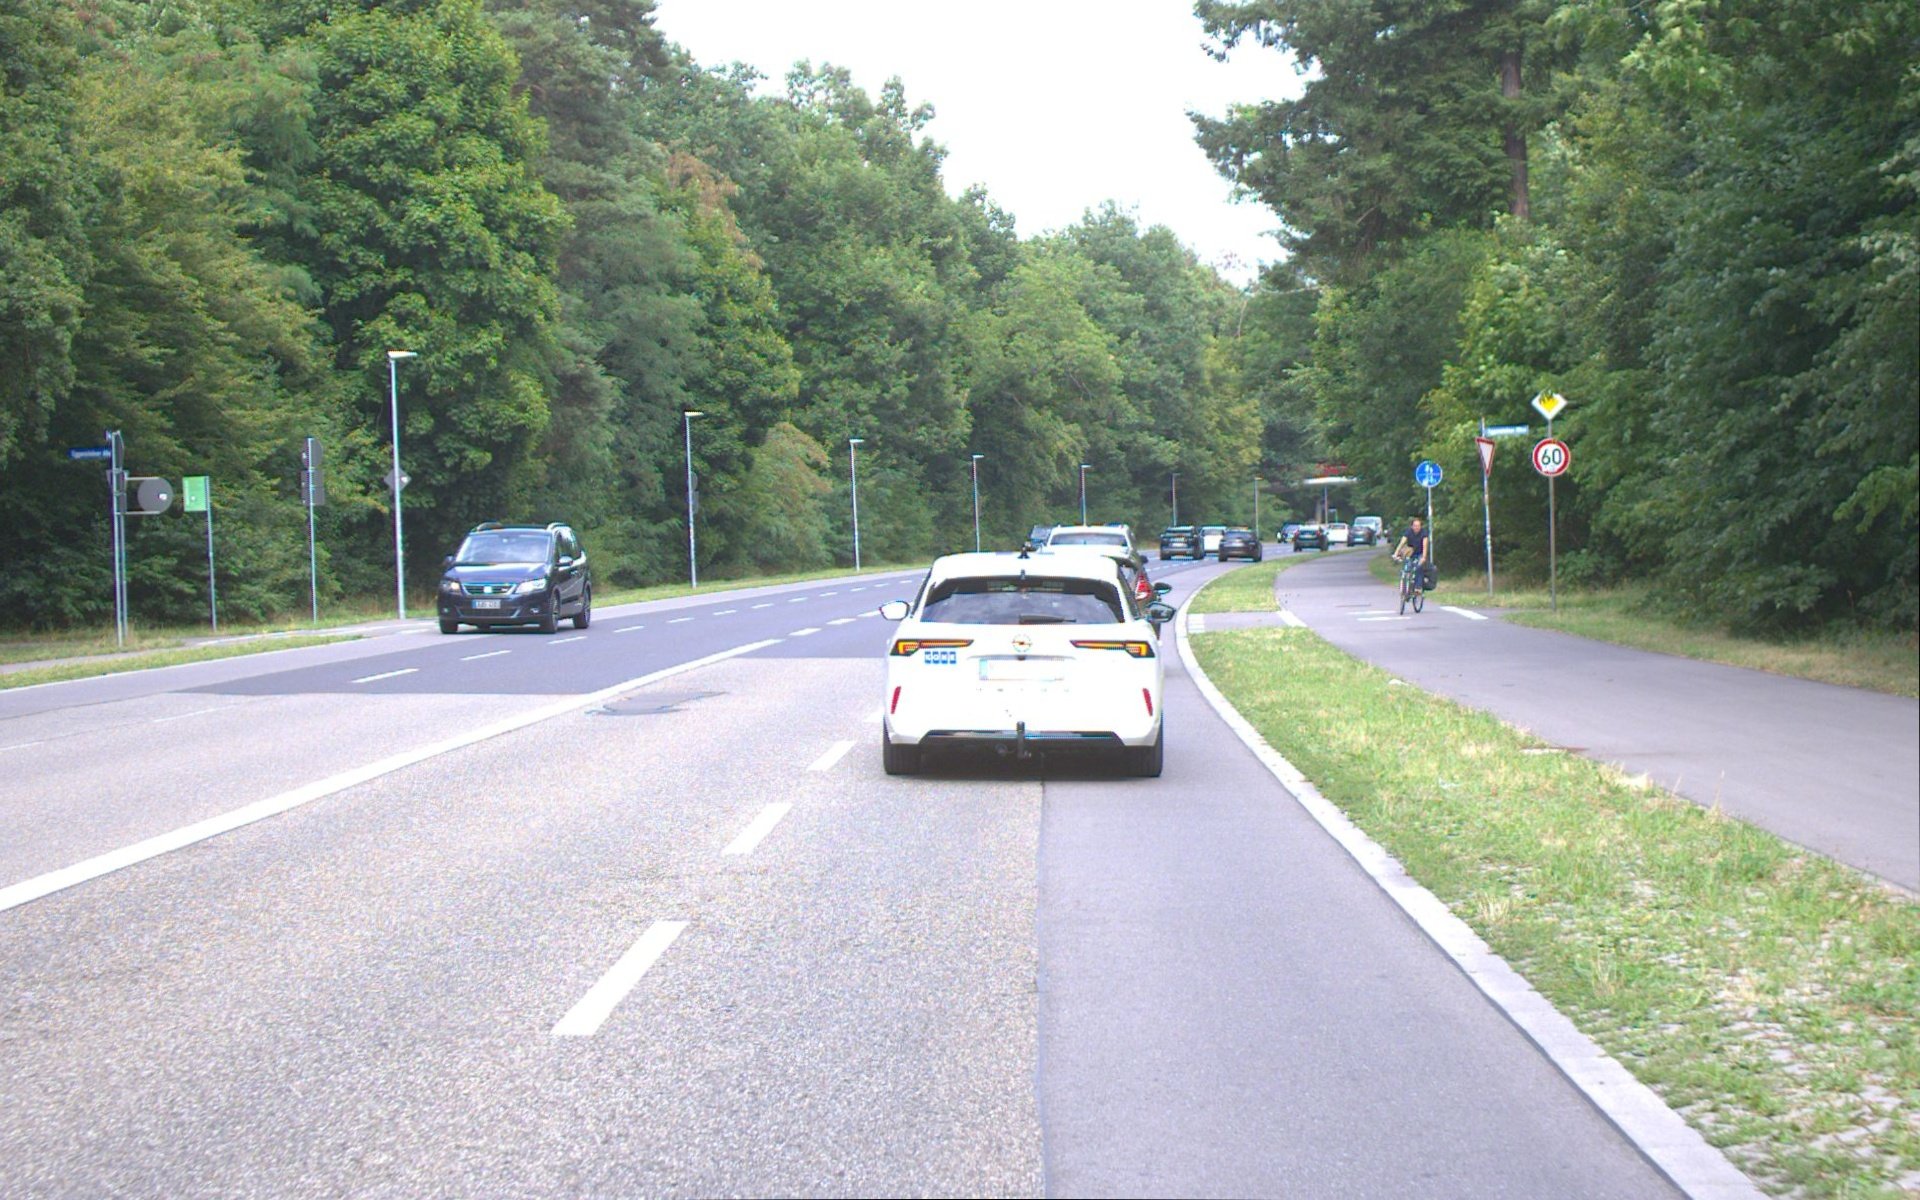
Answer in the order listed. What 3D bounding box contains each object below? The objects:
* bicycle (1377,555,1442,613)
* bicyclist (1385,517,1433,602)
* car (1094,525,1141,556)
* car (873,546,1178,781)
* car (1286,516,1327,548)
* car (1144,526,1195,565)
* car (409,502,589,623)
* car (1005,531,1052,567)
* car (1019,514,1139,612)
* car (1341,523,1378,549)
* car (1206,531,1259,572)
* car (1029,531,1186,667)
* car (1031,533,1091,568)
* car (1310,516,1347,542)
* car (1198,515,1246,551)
[{"bbox_3d":[7.844,-0.291,59.960,0.709,0.990,2.179,0,1,19],"label":"bicycle"},{"bbox_3d":[7.835,-0.710,59.944,0.709,1.465,0.901,0,1,15],"label":"bicyclist"},{"bbox_3d":[8.824,-3.306,192.040,1.994,1.611,4.662,2,0,10],"label":"car"},{"bbox_3d":[0.426,0.360,23.041,1.836,1.405,4.491,0,1,1],"label":"car"},{"bbox_3d":[20.550,-4.021,203.925,1.994,1.777,3.998,2,0,11],"label":"car"},{"bbox_3d":[10.015,-2.579,163.834,1.994,1.777,3.998,2,0,9],"label":"car"},{"bbox_3d":[-7.286,-0.583,54.837,1.994,1.785,4.747,2,0,3],"label":"car"},{"bbox_3d":[3.278,-2.408,163.764,1.923,1.649,4.468,0,0,5],"label":"car"},{"bbox_3d":[2.057,-0.643,60.244,1.993,1.601,4.000,2,0,1],"label":"car"},{"bbox_3d":[27.176,-4.364,233.691,1.995,1.700,3.998,0,1,14],"label":"car"},{"bbox_3d":[12.438,-2.189,156.858,1.994,1.777,3.998,2,0,10],"label":"car"},{"bbox_3d":[1.708,-0.018,38.806,1.635,1.415,3.999,2,0,4],"label":"car"},{"bbox_3d":[4.282,-2.074,144.768,1.994,1.430,4.719,0,0,8],"label":"car"},{"bbox_3d":[26.574,-5.111,247.831,1.890,1.809,3.997,2,0,16],"label":"car"},{"bbox_3d":[13.844,-3.508,181.456,1.994,1.777,3.998,2,0,11],"label":"car"}]
